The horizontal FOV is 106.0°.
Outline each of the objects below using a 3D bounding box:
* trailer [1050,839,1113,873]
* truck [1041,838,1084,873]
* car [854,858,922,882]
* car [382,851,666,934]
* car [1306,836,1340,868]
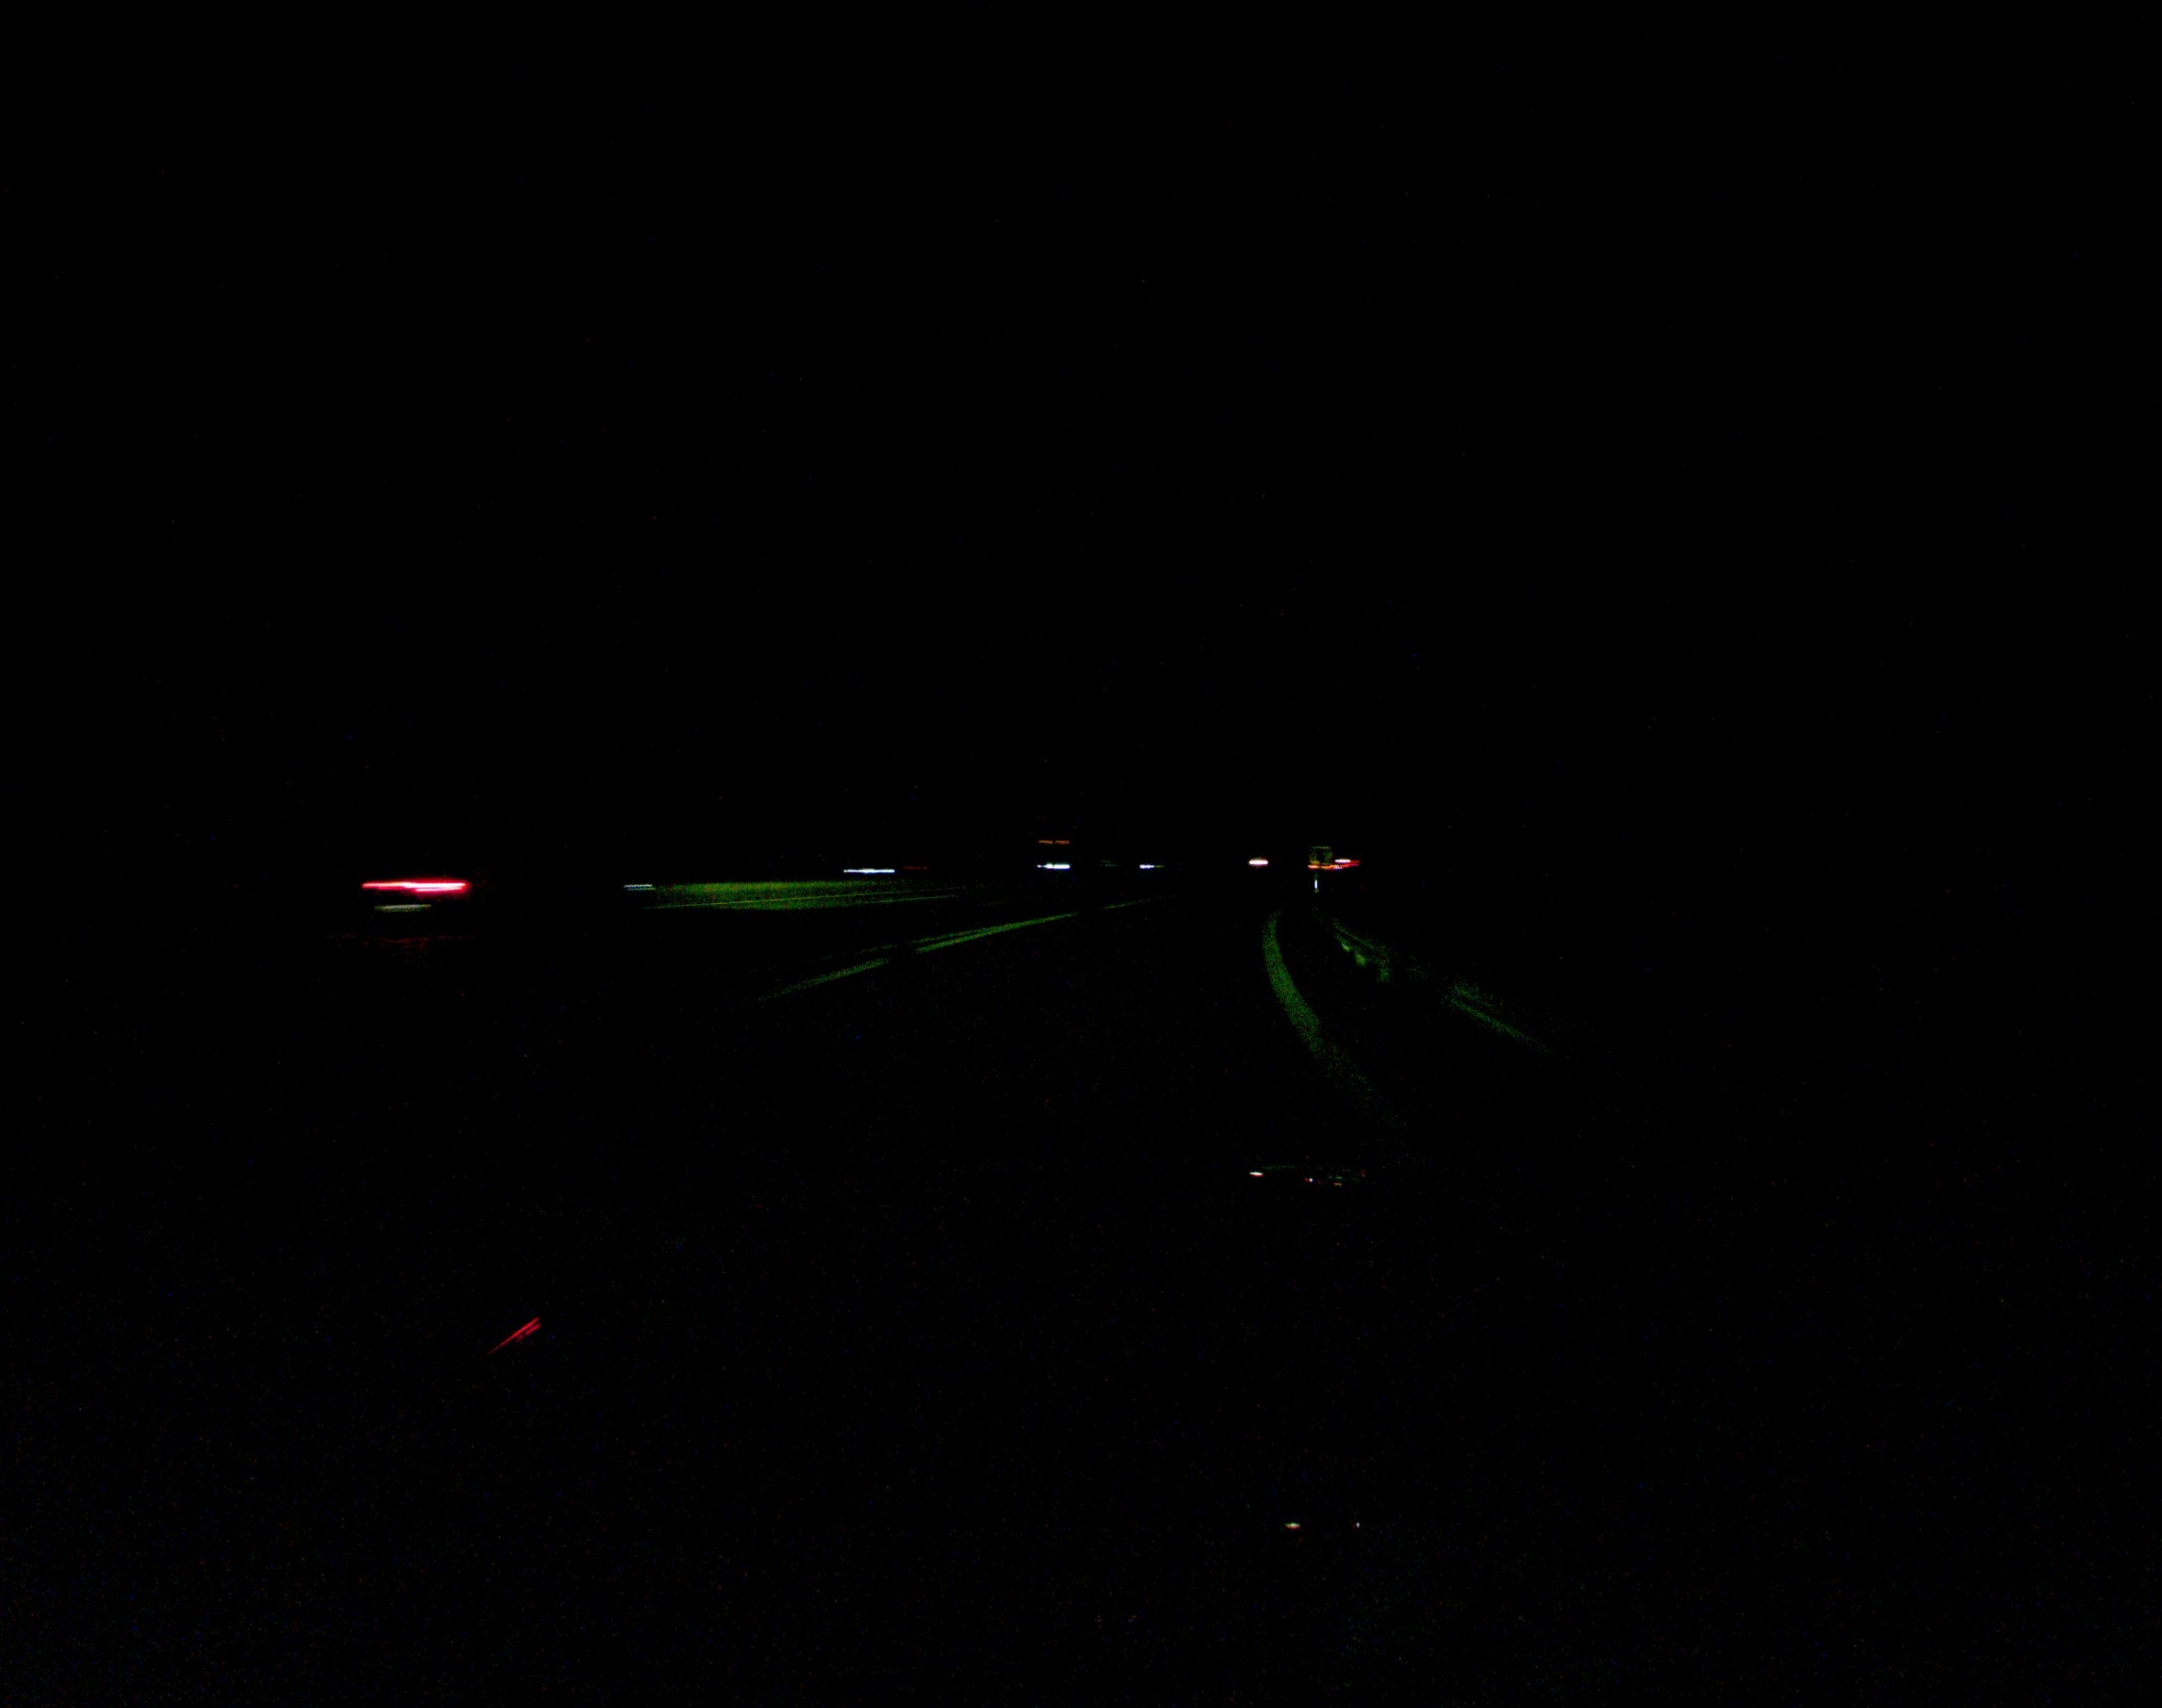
[{"bbox_3d":[0.338,0.284,96.663,2.735,3.801,13.829,0,-1,21],"label":"trailer"},{"bbox_3d":[-1.993,0.191,90.428,2.735,3.801,5.993,0,-1,21],"label":"truck"},{"bbox_3d":[-12.148,1.011,51.457,1.976,1.424,4.392,1,-1,22],"label":"car"},{"bbox_3d":[-10.742,0.675,16.184,1.591,1.400,4.525,1,-1,20],"label":"car"},{"bbox_3d":[40.499,-0.325,136.270,5.241,5.092,12.528,1,-1,17],"label":"car"}]
